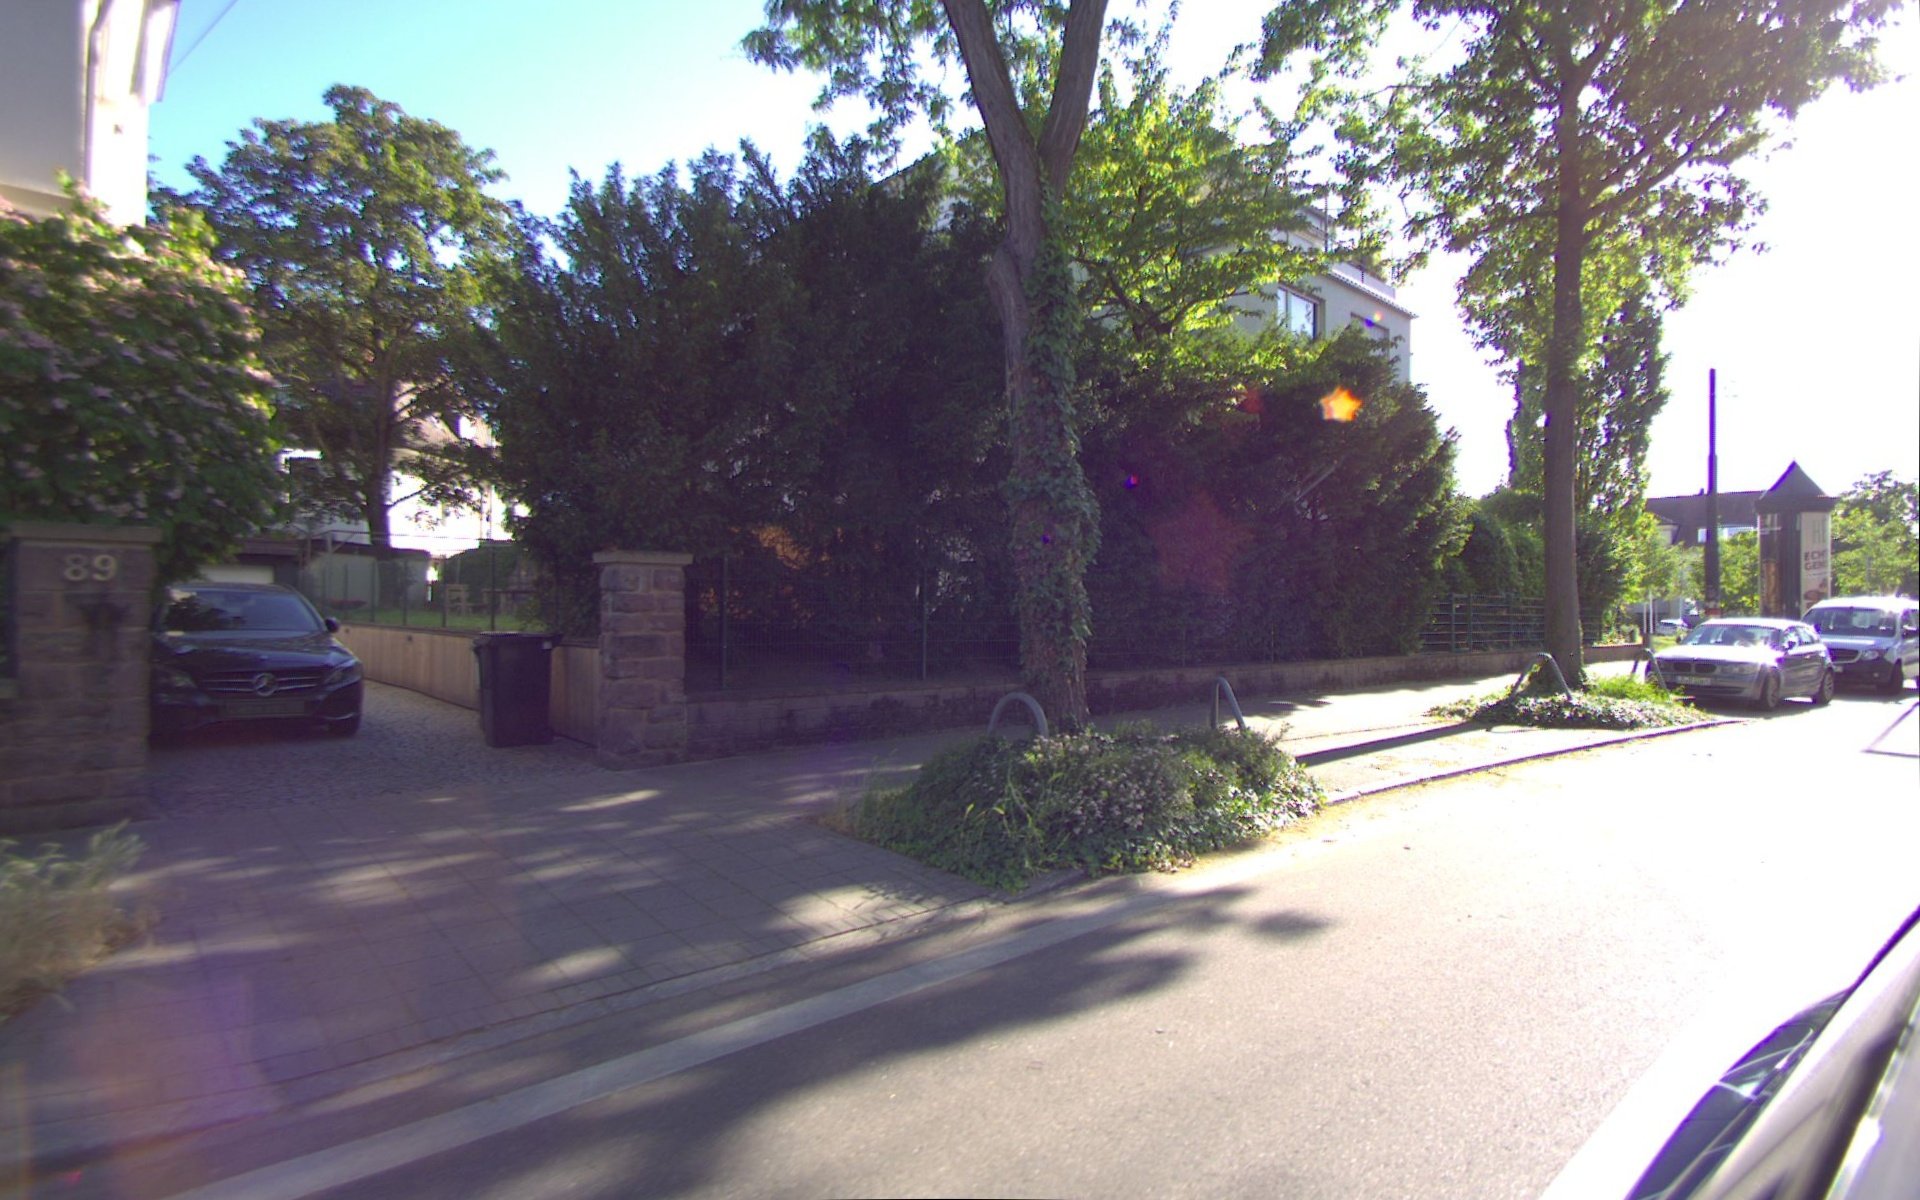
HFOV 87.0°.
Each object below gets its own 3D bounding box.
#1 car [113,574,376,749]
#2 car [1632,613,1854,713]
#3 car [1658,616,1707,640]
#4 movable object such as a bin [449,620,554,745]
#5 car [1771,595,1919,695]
[{"bbox_3d":[-7.497,0.491,10.442,1.727,1.445,3.992,1,0,-42],"label":"car"},{"bbox_3d":[13.478,0.969,17.341,4.252,1.441,1.999,0,1,-38],"label":"car"},{"bbox_3d":[57.911,2.242,81.088,3.923,1.819,2.000,1,0,-35],"label":"car"},{"bbox_3d":[-4.367,0.753,9.636,0.717,1.112,0.748,1,-1,-41],"label":"movable object such as a bin"},{"bbox_3d":[18.440,0.862,20.519,4.663,1.769,2.028,2,0,-37],"label":"car"}]
